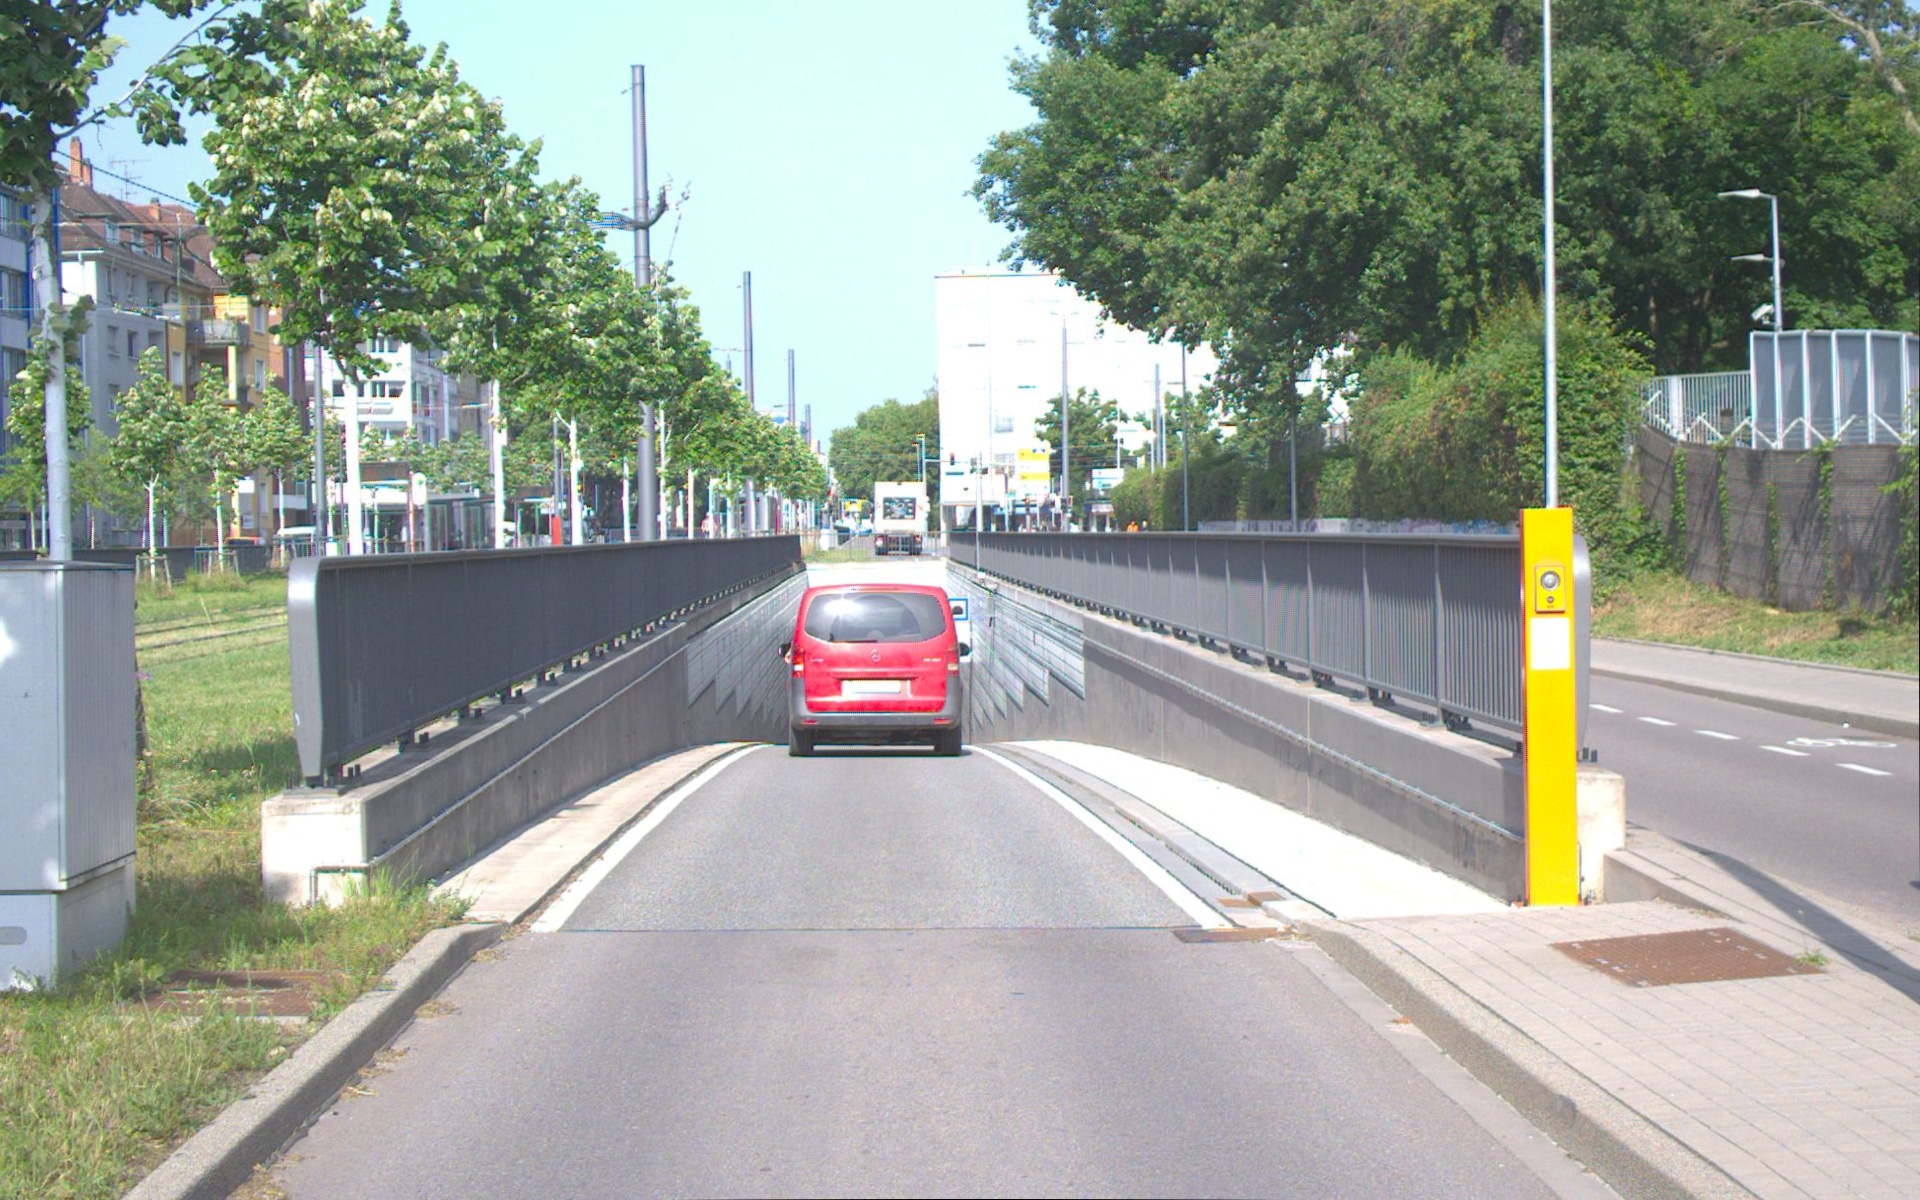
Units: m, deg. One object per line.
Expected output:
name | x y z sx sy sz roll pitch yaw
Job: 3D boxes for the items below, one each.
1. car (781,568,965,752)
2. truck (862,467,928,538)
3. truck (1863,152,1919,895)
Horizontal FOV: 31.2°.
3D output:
car | -0.915 0.616 38.337 1.901 1.853 4.000 1 1 0
truck | -3.598 -5.301 187.713 3.390 3.713 10.453 -1 1 -2
truck | 5.275 -0.251 10.915 2.502 3.050 7.821 1 1 -2
